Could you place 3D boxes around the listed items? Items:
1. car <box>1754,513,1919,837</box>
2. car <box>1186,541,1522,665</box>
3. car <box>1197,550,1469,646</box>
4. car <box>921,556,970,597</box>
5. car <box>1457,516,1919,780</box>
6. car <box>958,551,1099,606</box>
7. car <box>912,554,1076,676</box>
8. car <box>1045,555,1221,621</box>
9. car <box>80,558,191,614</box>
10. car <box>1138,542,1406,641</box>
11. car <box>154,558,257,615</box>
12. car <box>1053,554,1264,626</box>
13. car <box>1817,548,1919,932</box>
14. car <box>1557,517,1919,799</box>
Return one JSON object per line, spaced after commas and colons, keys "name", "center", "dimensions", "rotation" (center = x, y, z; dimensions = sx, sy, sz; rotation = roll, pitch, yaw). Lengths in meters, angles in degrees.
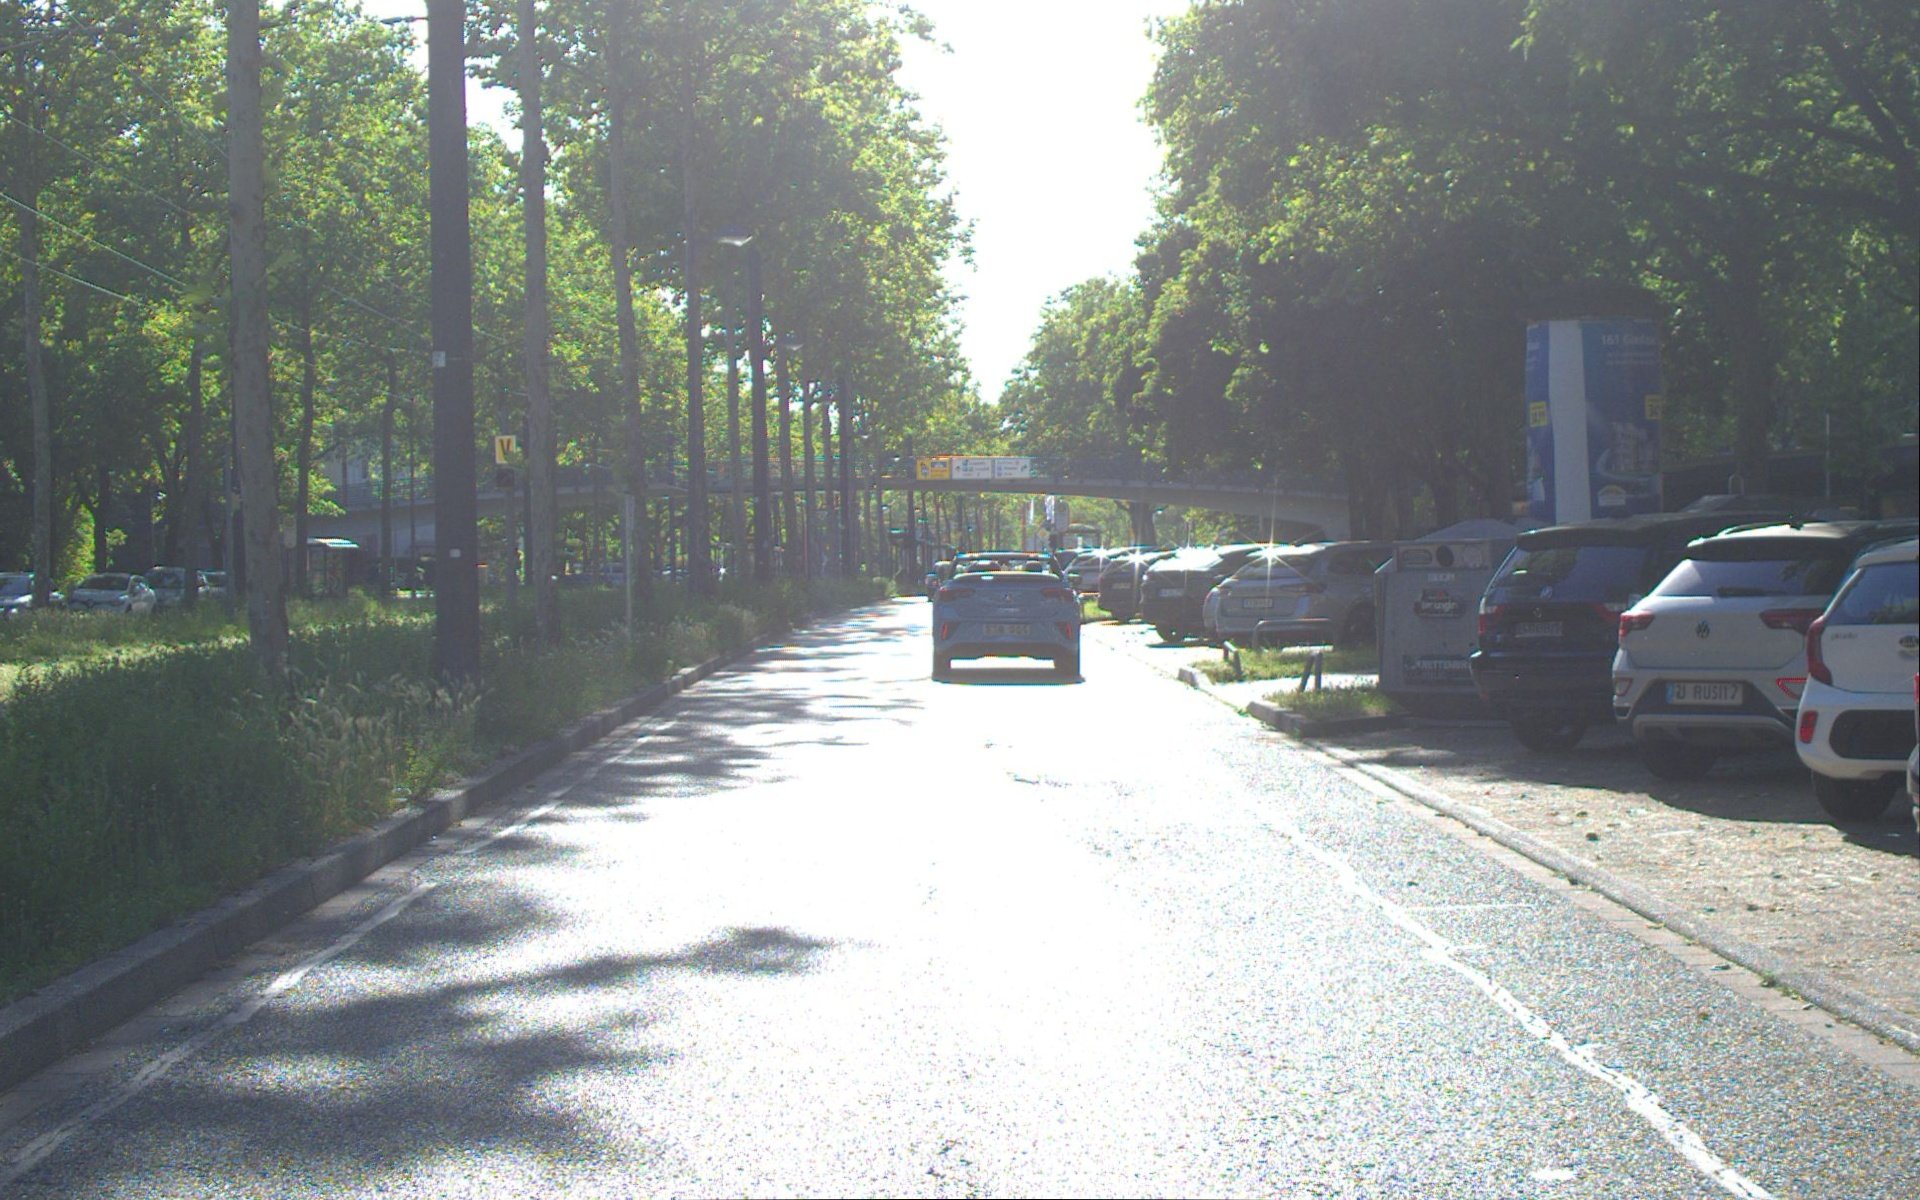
{"name": "car", "center": [6.134, 0.323, 18.140], "dimensions": [4.074, 1.577, 1.780], "rotation": [-2, 1, -42]}
{"name": "car", "center": [5.157, 0.016, 44.629], "dimensions": [4.482, 1.438, 1.855], "rotation": [-3, 1, -44]}
{"name": "car", "center": [5.690, -0.044, 52.089], "dimensions": [4.318, 1.293, 1.691], "rotation": [-3, 1, -44]}
{"name": "car", "center": [-0.566, -0.924, 133.252], "dimensions": [1.849, 1.530, 3.866], "rotation": [0, 1, 0]}
{"name": "car", "center": [5.615, 0.274, 24.396], "dimensions": [4.308, 1.711, 1.635], "rotation": [-1, 1, -39]}
{"name": "car", "center": [2.251, -0.687, 112.111], "dimensions": [4.611, 1.762, 1.856], "rotation": [0, 1, -43]}
{"name": "car", "center": [0.419, 0.147, 42.360], "dimensions": [1.922, 1.406, 4.000], "rotation": [0, 1, 1]}
{"name": "car", "center": [4.519, -0.322, 89.186], "dimensions": [4.611, 1.674, 1.856], "rotation": [0, 1, -43]}
{"name": "car", "center": [-22.722, -0.405, 94.879], "dimensions": [1.993, 1.448, 4.000], "rotation": [2, 1, 1]}
{"name": "car", "center": [5.021, -0.145, 54.973], "dimensions": [4.318, 1.420, 1.855], "rotation": [-3, 1, -44]}
{"name": "car", "center": [-22.391, -0.419, 102.117], "dimensions": [1.993, 1.584, 4.168], "rotation": [2, 1, 1]}
{"name": "car", "center": [4.288, -0.226, 73.698], "dimensions": [1.978, 1.454, 4.613], "rotation": [0, 1, 44]}
{"name": "car", "center": [5.547, 0.471, 14.159], "dimensions": [4.073, 1.476, 1.651], "rotation": [-2, 1, -36]}
{"name": "car", "center": [5.720, 0.278, 21.495], "dimensions": [4.074, 1.577, 1.780], "rotation": [-3, 1, -43]}
